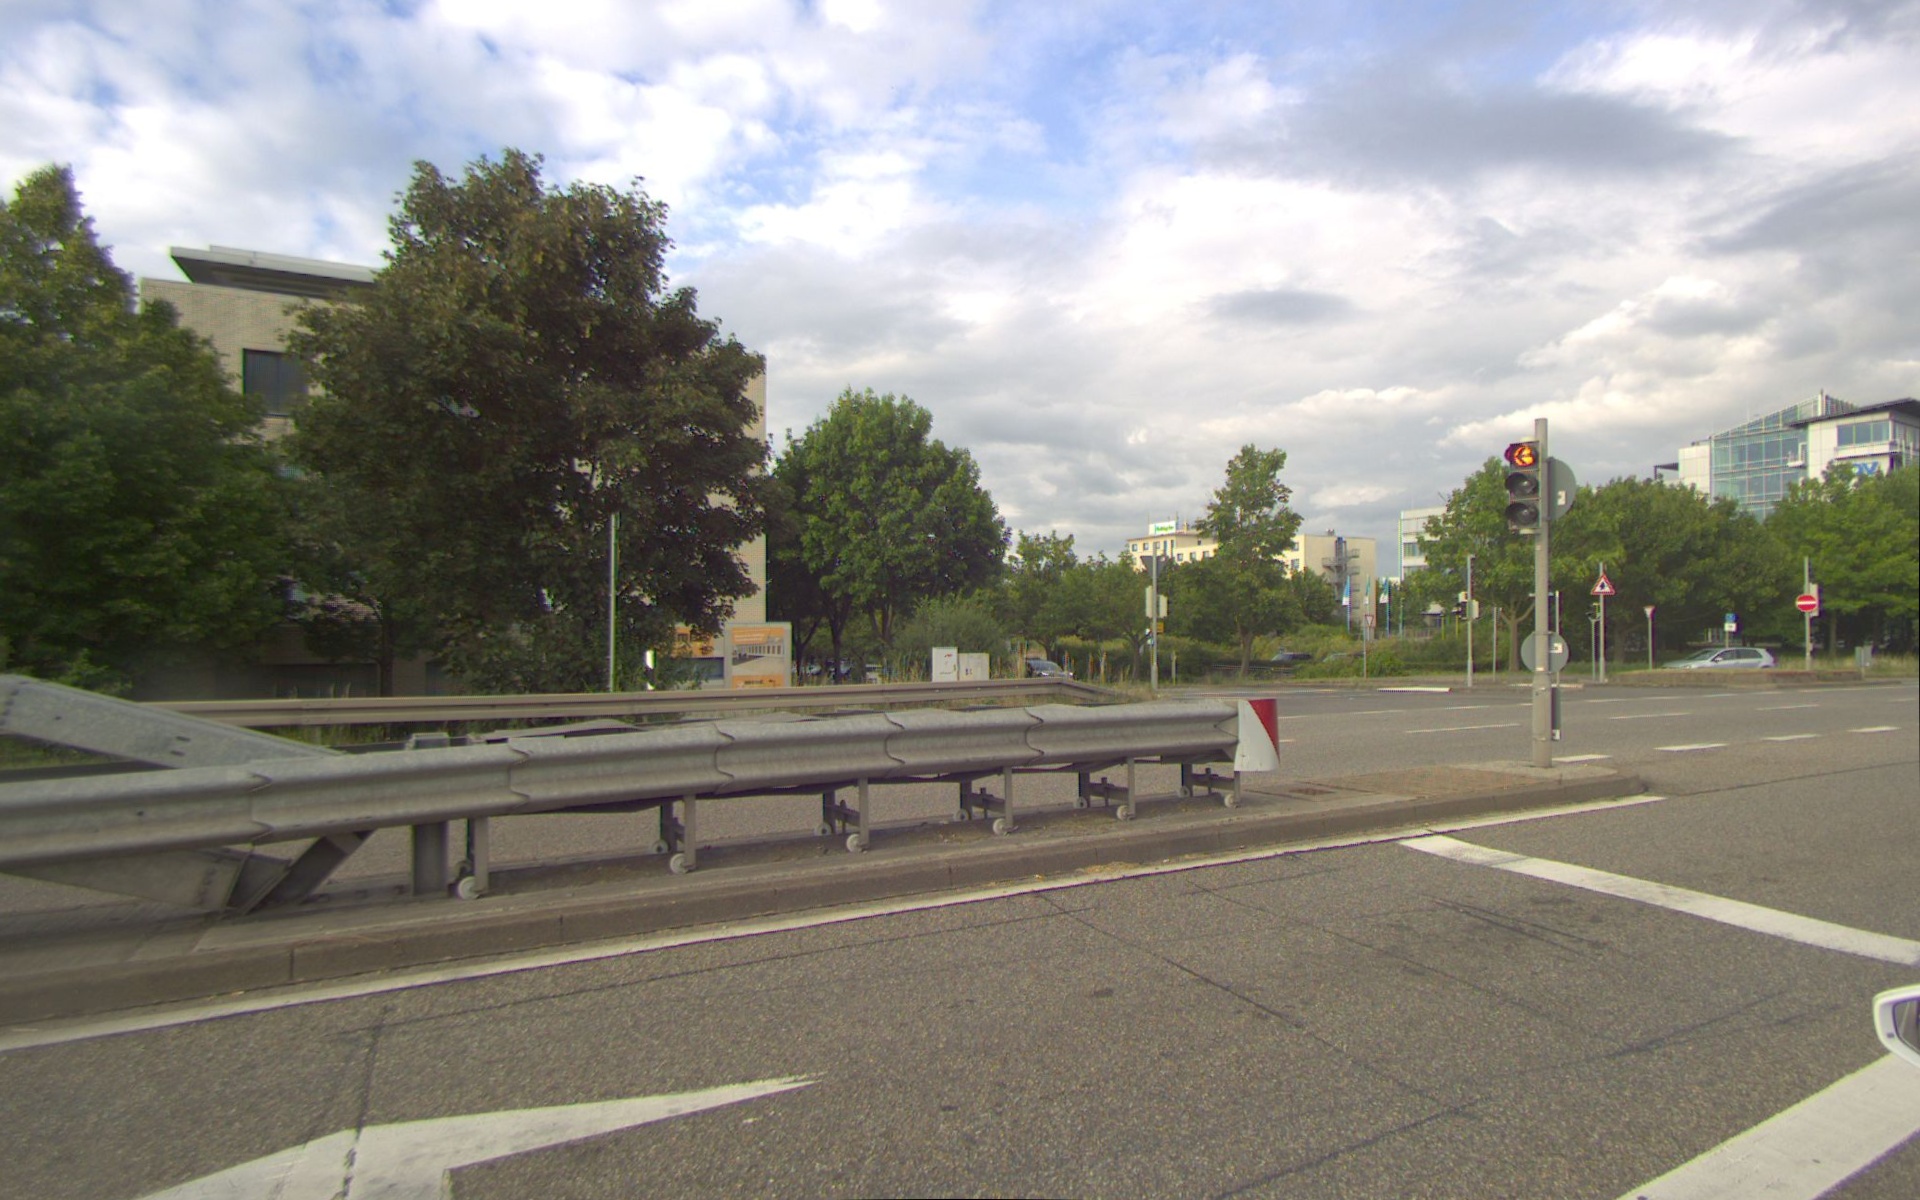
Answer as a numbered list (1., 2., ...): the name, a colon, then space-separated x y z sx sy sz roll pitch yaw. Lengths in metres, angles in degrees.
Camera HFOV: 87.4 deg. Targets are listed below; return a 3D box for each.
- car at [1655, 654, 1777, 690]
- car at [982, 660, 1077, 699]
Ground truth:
1. car: 31.243 2.970 41.578 3.675 1.359 1.588 -2 -4 6
2. car: 3.173 3.681 46.629 1.907 1.475 4.322 7 -5 -40
